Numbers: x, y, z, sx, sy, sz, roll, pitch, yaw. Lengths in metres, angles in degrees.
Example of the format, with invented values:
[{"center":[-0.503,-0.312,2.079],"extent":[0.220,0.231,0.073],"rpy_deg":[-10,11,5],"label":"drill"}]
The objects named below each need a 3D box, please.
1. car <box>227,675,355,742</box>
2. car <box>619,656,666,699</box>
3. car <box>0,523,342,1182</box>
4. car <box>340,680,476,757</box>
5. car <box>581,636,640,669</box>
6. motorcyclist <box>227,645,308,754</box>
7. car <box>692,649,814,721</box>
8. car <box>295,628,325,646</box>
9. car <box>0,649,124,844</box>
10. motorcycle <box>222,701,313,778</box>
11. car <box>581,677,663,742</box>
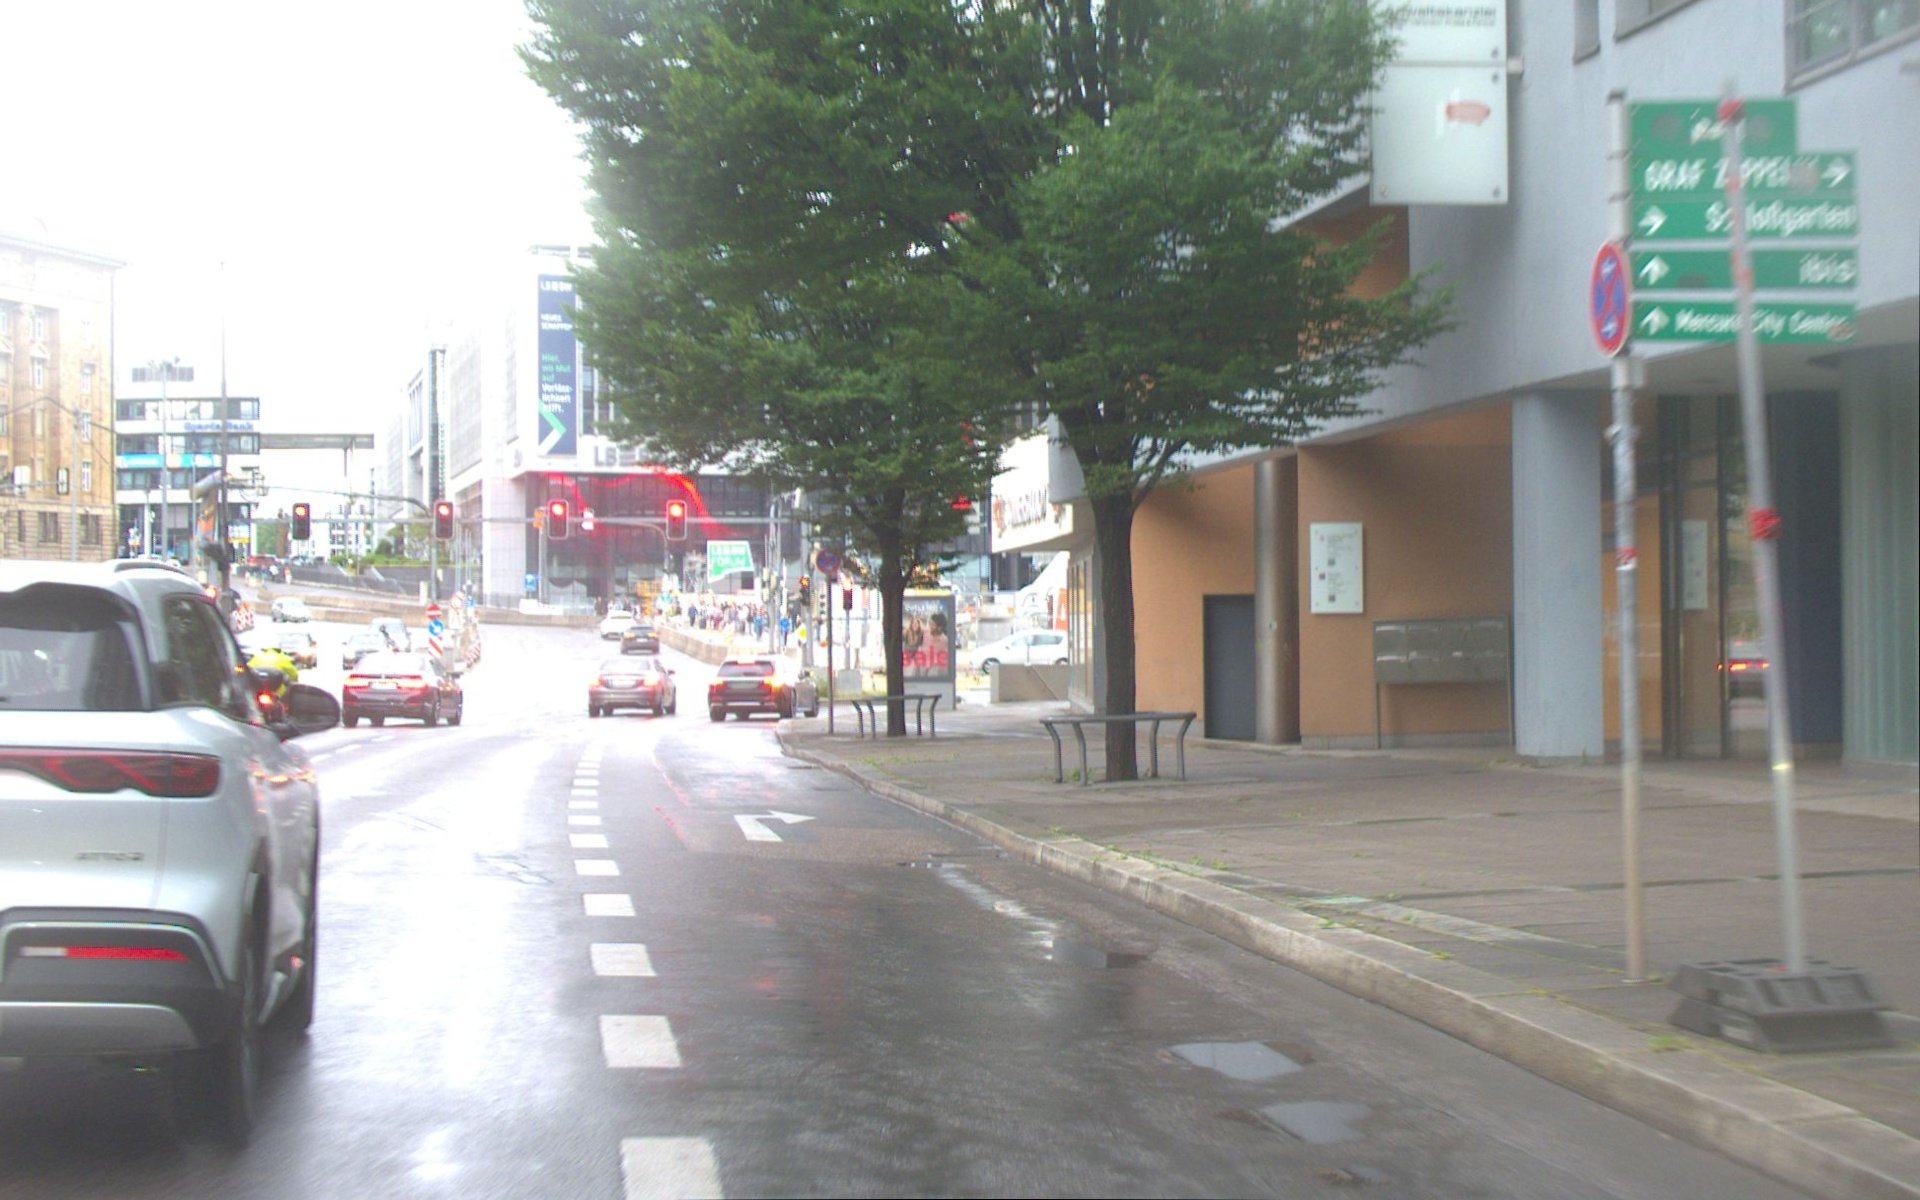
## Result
[{"center":[-16.775,2.717,86.360],"extent":[1.784,1.594,4.070],"rpy_deg":[1,-2,10],"label":"car"},{"center":[-15.294,3.716,165.528],"extent":[1.993,2.007,4.001],"rpy_deg":[1,-2,-9],"label":"car"},{"center":[-2.930,0.678,10.684],"extent":[1.807,1.655,4.171],"rpy_deg":[1,-2,-8],"label":"car"},{"center":[-11.314,2.416,70.797],"extent":[1.887,1.510,5.002],"rpy_deg":[1,-1,1],"label":"car"},{"center":[-19.715,2.946,193.841],"extent":[1.993,1.810,4.000],"rpy_deg":[2,-2,-26],"label":"car"},{"center":[-9.571,1.377,47.566],"extent":[0.941,1.471,1.100],"rpy_deg":[1,-2,-4],"label":"motorcyclist"},{"center":[-4.640,1.928,77.712],"extent":[1.892,1.539,3.991],"rpy_deg":[1,-2,9],"label":"car"},{"center":[-47.109,2.689,249.134],"extent":[1.767,1.256,4.194],"rpy_deg":[1,-1,-5],"label":"car"},{"center":[-7.801,1.085,26.478],"extent":[1.732,1.399,4.383],"rpy_deg":[1,-1,-1],"label":"car"},{"center":[-9.546,1.915,47.477],"extent":[0.941,0.986,2.294],"rpy_deg":[1,-1,-4],"label":"motorcycle"},{"center":[-8.216,2.649,83.863],"extent":[1.783,1.398,4.487],"rpy_deg":[1,0,-3],"label":"car"}]
